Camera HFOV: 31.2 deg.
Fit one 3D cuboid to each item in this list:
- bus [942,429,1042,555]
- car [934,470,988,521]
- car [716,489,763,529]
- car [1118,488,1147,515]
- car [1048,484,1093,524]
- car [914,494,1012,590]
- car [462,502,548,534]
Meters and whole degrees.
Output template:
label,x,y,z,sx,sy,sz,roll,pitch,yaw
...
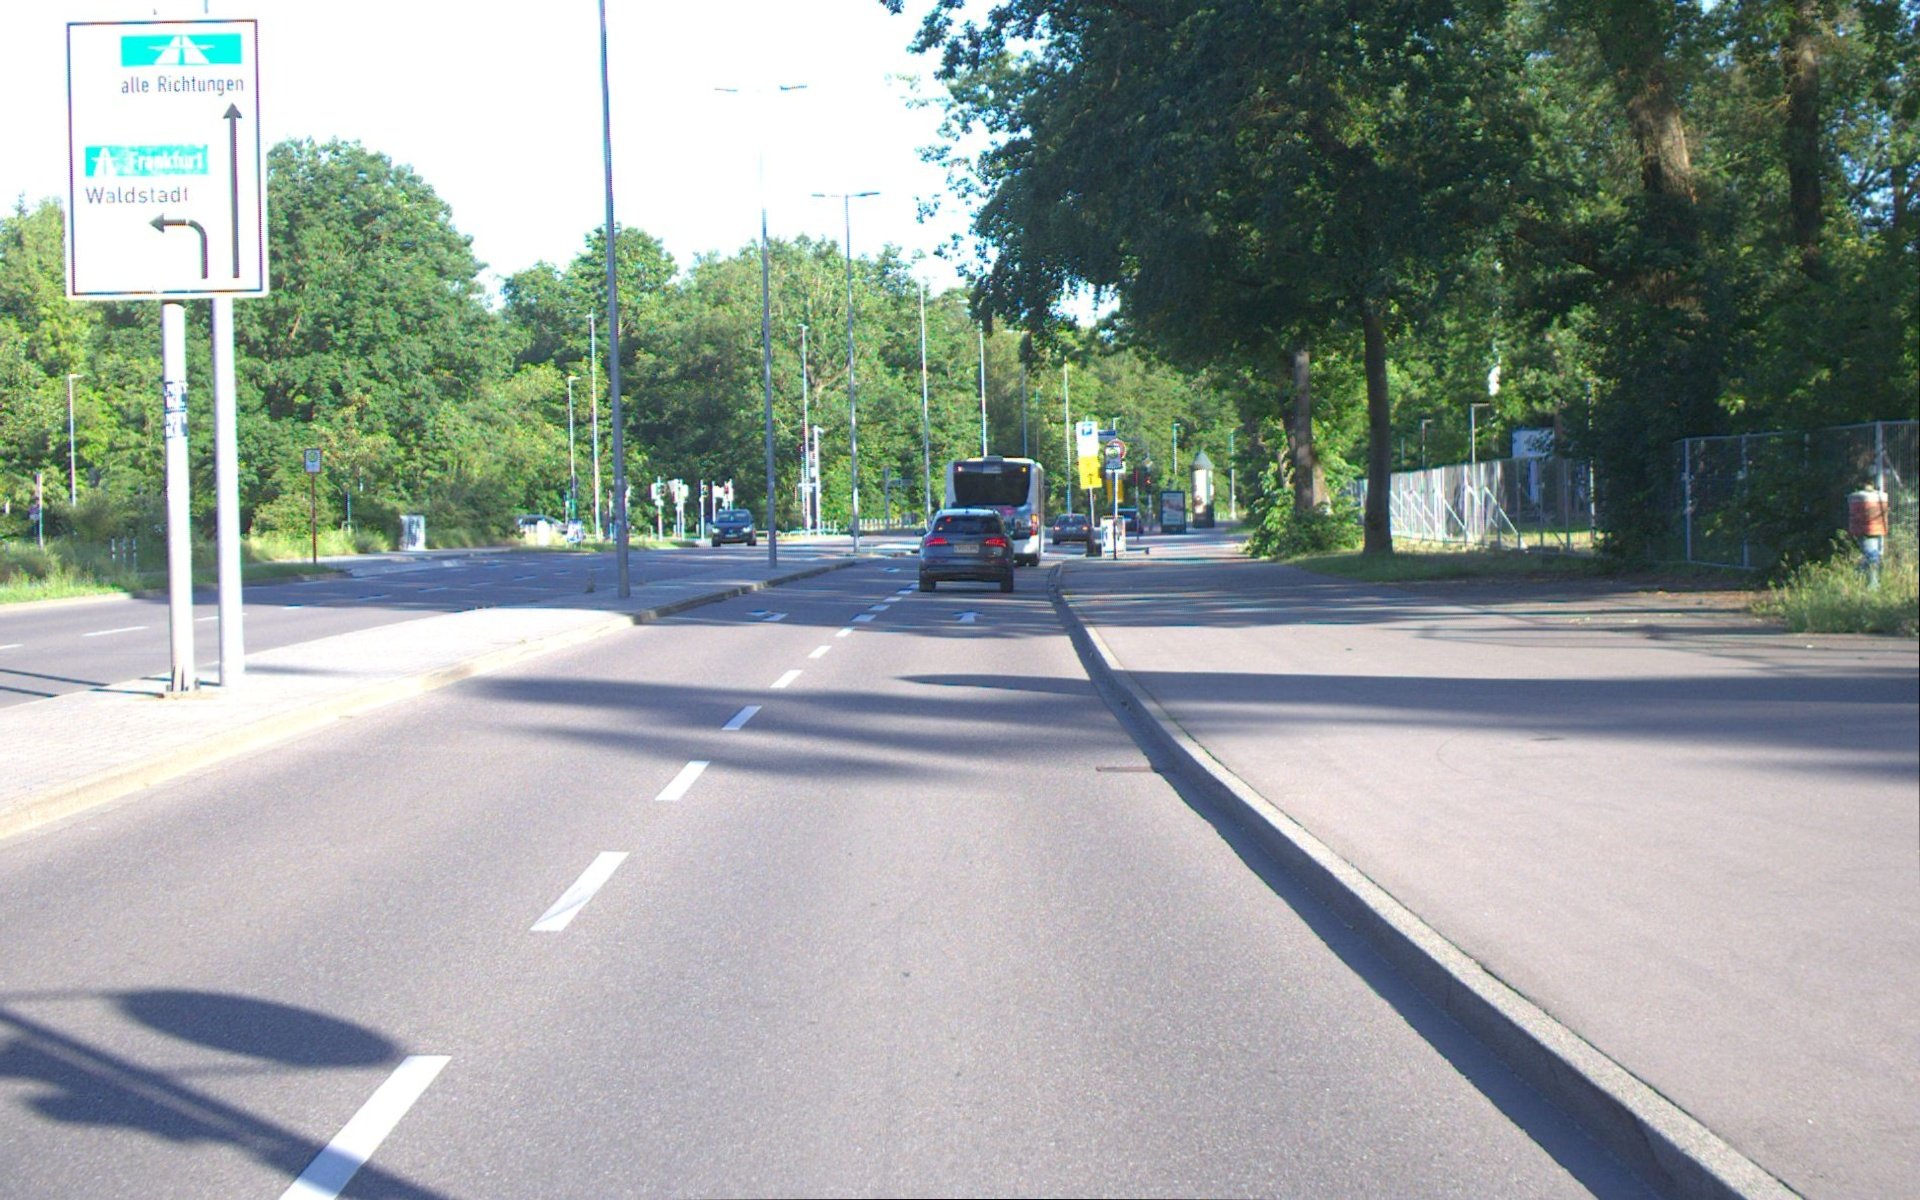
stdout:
label,x,y,z,sx,sy,sz,roll,pitch,yaw
bus,0.838,-3.083,96.282,2.605,3.357,7.977,0,3,-1
car,0.017,-3.813,124.947,1.880,1.759,4.001,-1,3,-1
car,-9.957,-4.132,155.384,1.863,1.678,3.773,-2,3,-1
car,10.578,-6.046,210.979,1.592,1.600,3.584,1,2,1
car,4.975,-4.315,154.176,1.863,1.678,3.773,-2,3,3
car,0.036,-1.195,69.091,1.880,1.759,4.001,-1,3,-1
car,-21.909,-3.955,165.622,3.665,1.349,1.738,-4,3,-32
